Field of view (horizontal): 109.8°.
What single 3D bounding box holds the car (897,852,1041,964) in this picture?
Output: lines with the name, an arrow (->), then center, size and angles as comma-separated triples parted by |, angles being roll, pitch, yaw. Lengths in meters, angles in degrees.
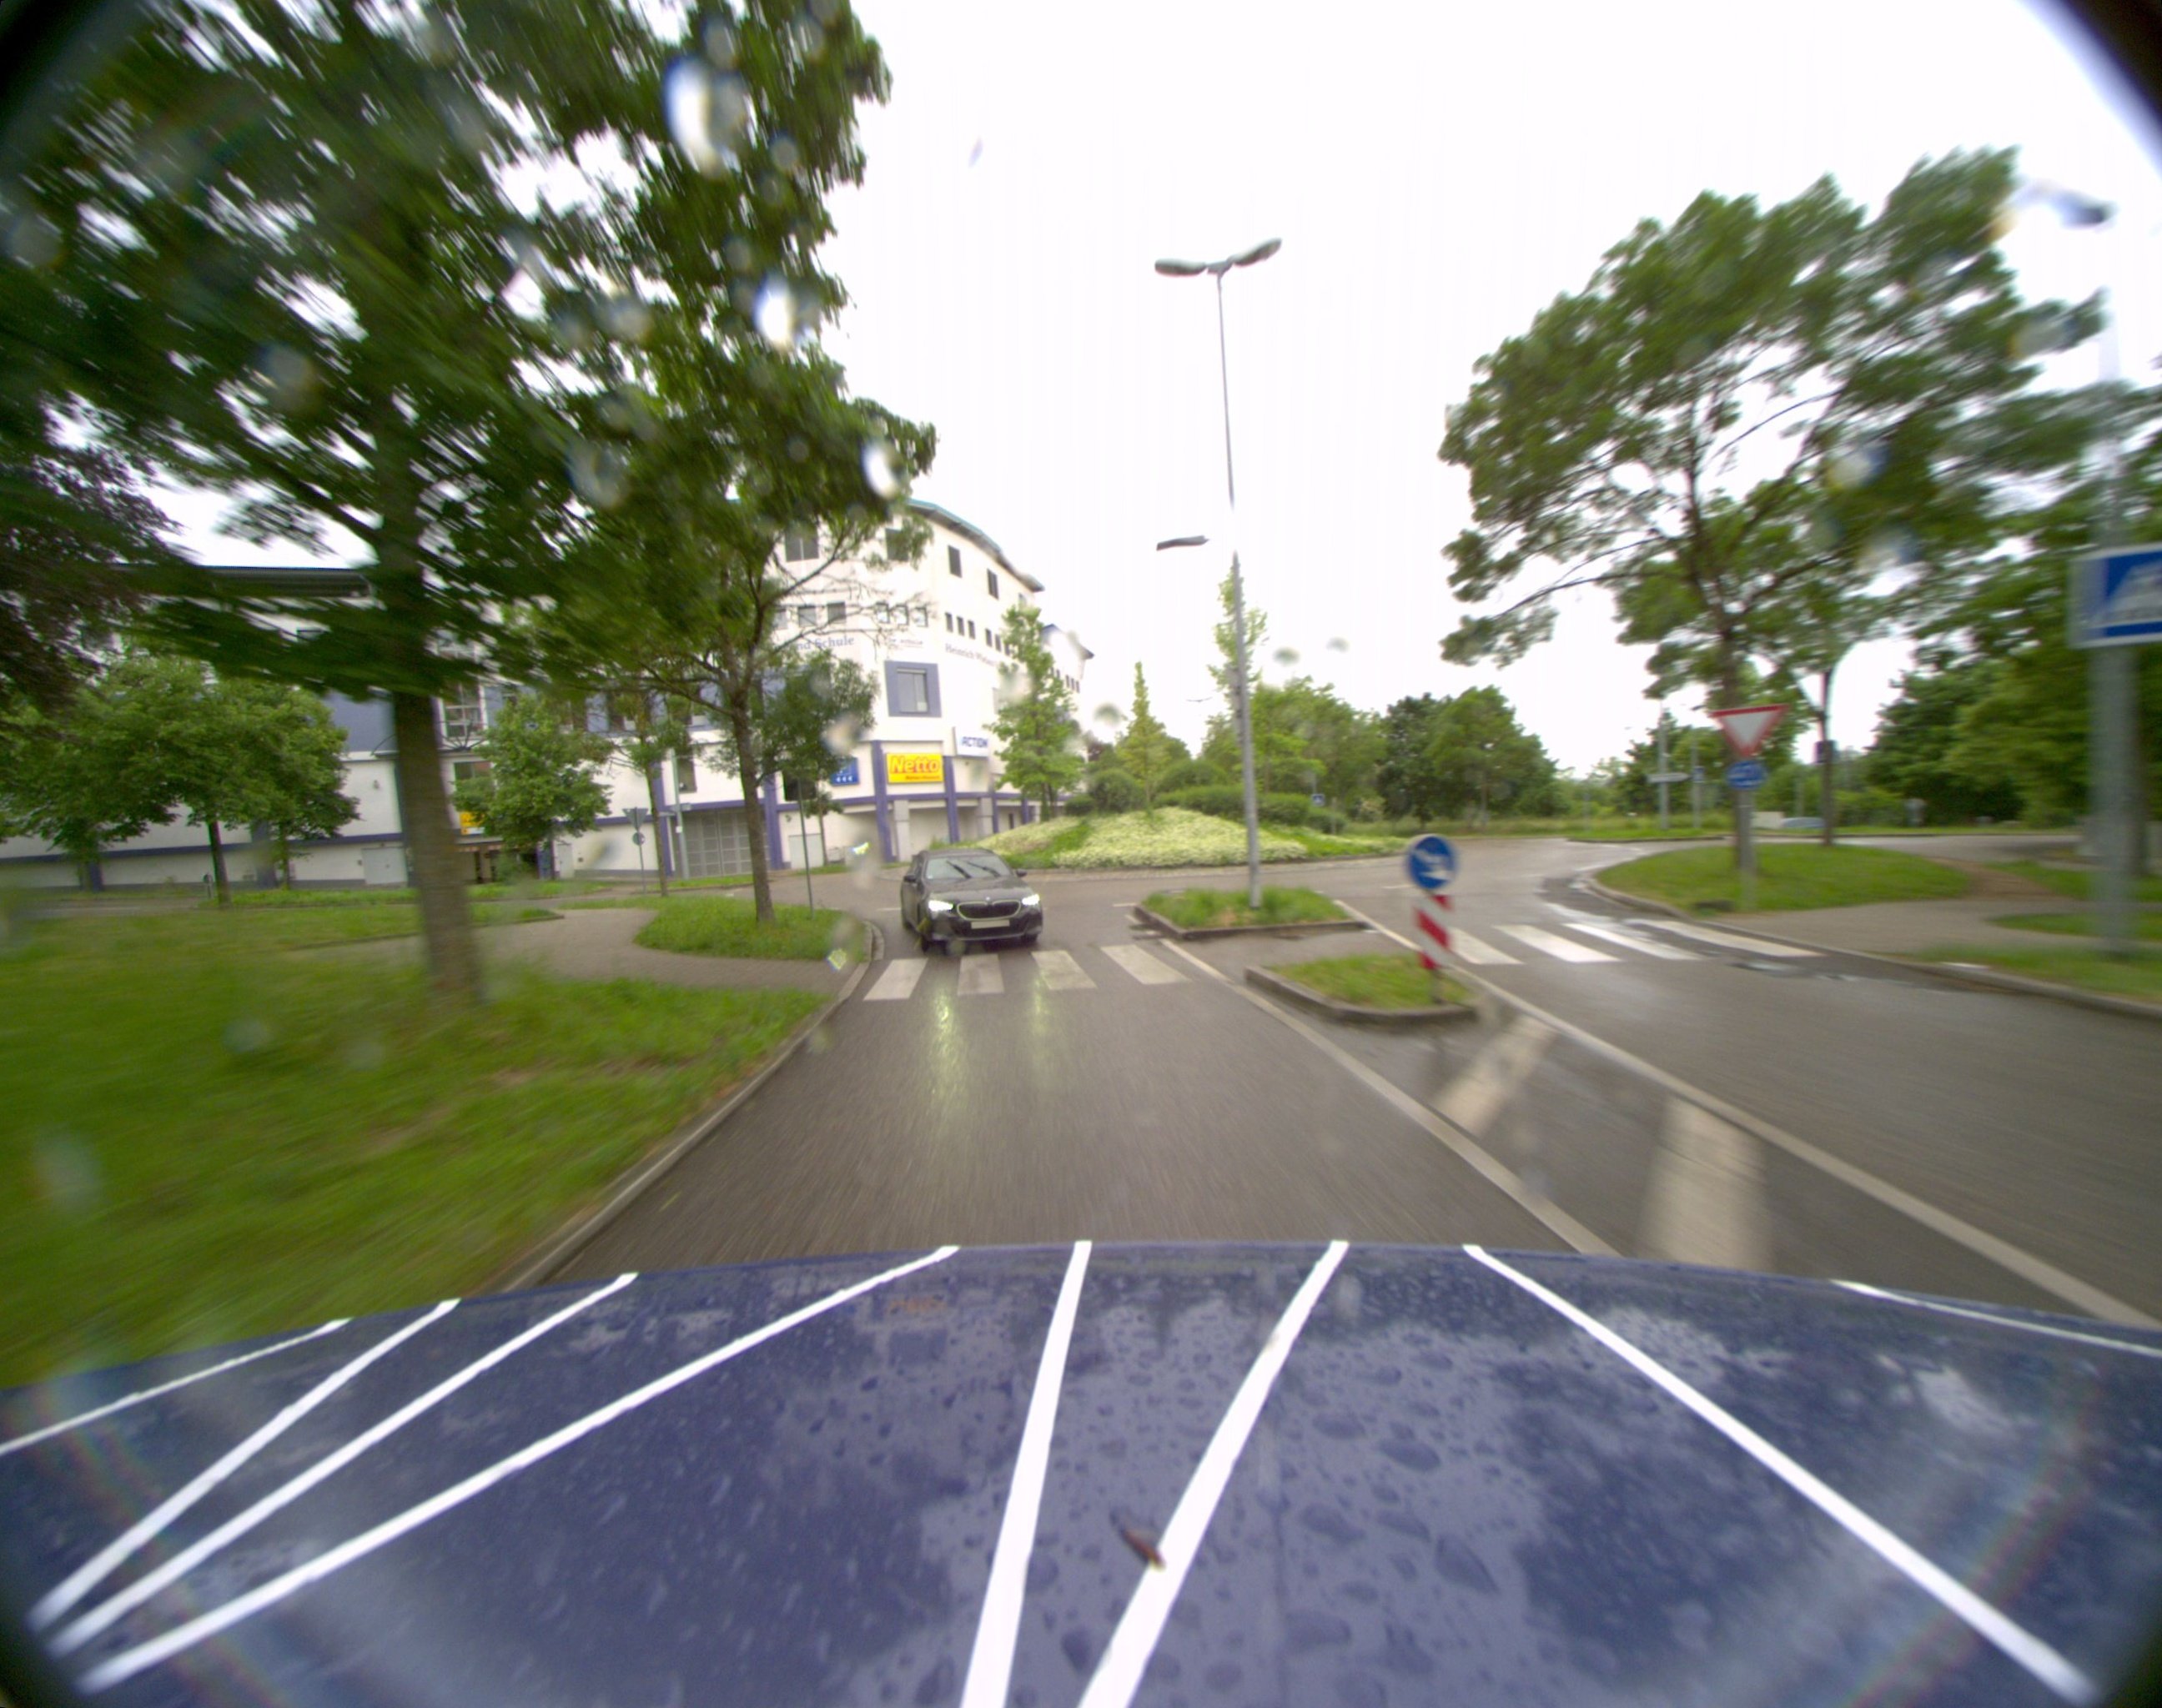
car -> -2.090, 0.779, 13.166 | 1.847, 1.472, 3.993 | -3, 2, -17
